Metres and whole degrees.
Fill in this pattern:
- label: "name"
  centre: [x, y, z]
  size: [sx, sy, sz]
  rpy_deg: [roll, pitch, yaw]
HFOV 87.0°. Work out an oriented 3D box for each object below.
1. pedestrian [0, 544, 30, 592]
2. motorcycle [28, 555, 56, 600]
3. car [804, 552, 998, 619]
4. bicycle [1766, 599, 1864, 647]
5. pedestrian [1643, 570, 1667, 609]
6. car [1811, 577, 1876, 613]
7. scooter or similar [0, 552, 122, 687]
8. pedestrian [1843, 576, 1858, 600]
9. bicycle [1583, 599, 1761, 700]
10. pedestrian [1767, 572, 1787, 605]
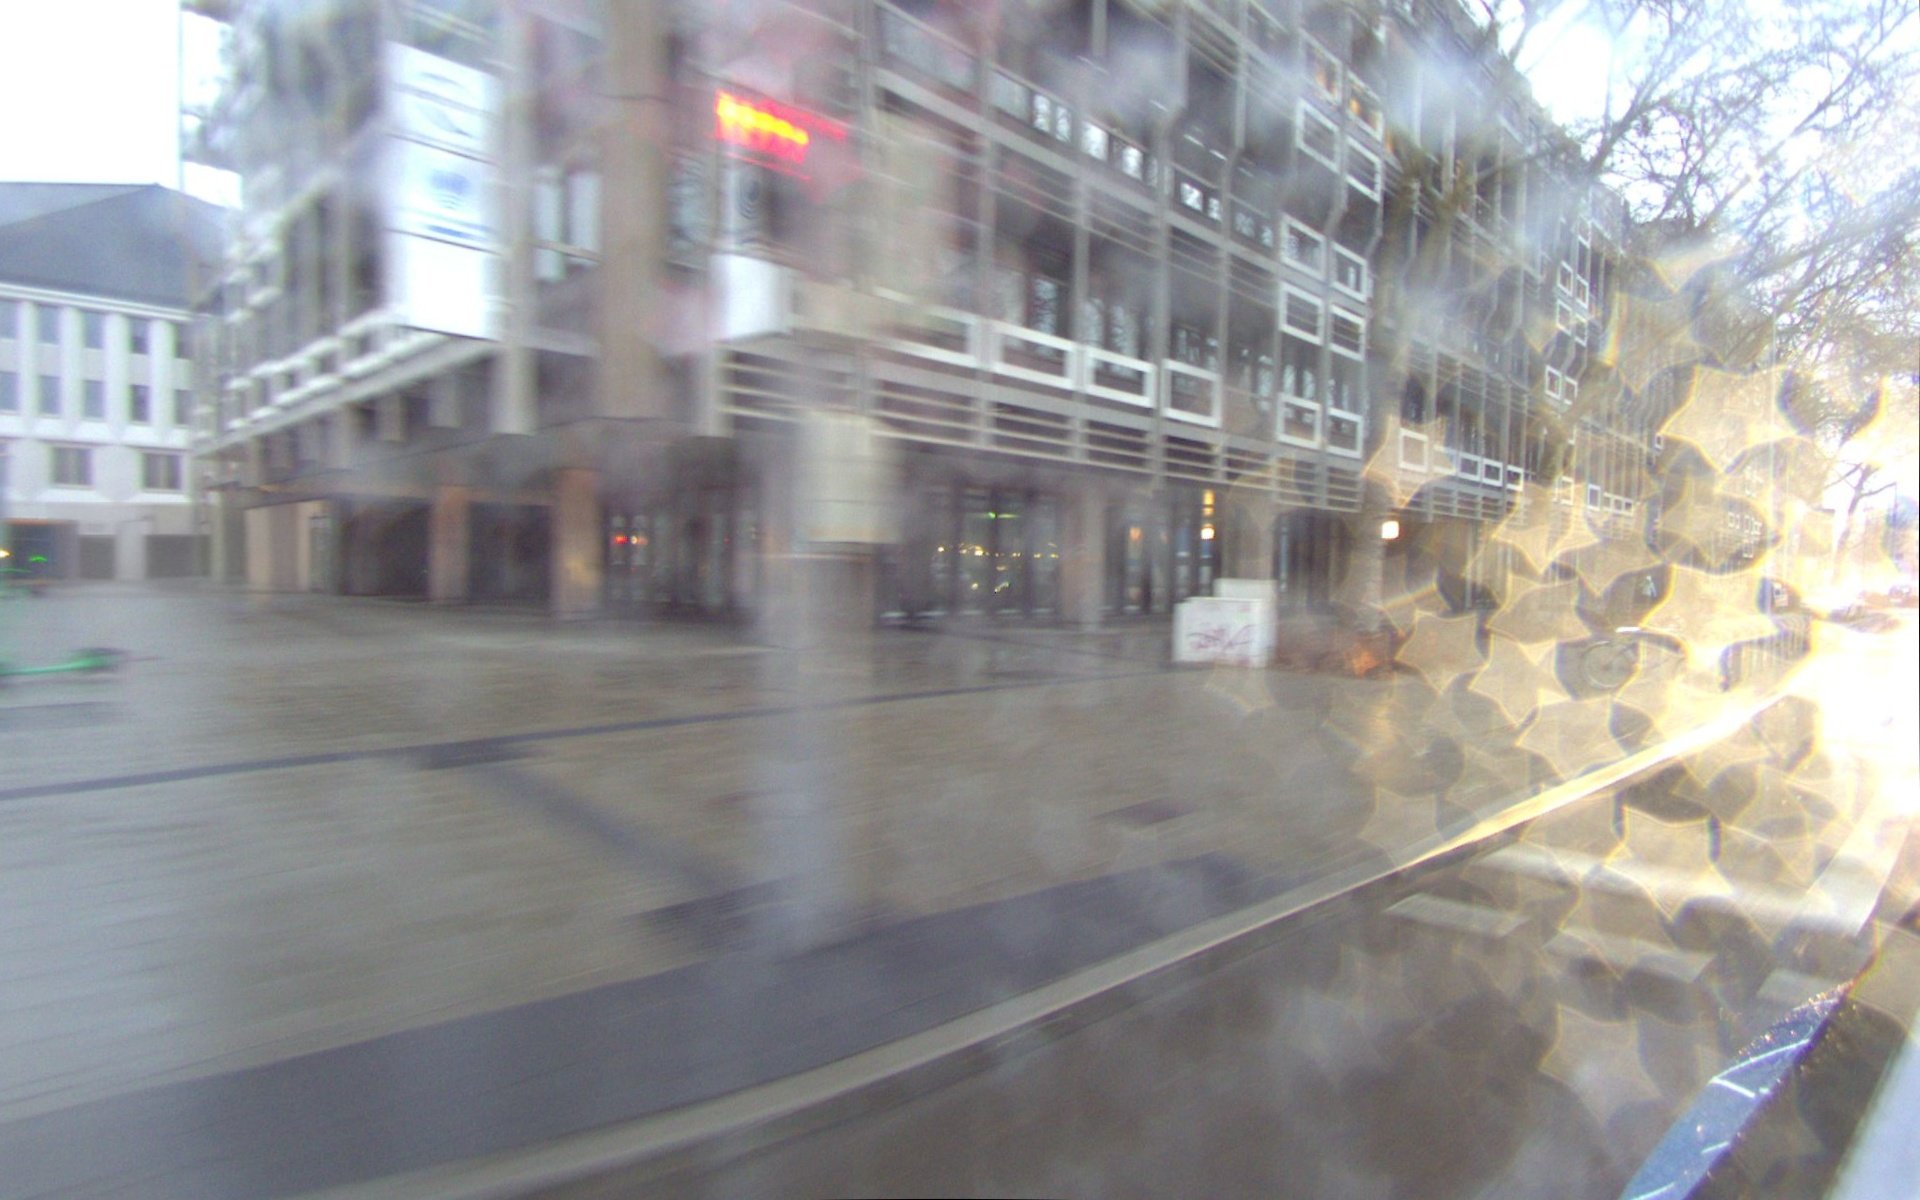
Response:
- label: "pedestrian"
  centre: [-35.292, -1.189, 37.777]
  size: [0.654, 1.798, 0.684]
  rpy_deg: [0, 1, 32]
- label: "motorcycle"
  centre: [-28.421, -0.698, 31.326]
  size: [0.584, 1.370, 1.490]
  rpy_deg: [0, 0, -44]
- label: "car"
  centre: [-1.268, -0.361, 22.575]
  size: [3.931, 1.326, 1.997]
  rpy_deg: [-1, 4, -42]
- label: "bicycle"
  centre: [20.900, 0.545, 24.766]
  size: [0.864, 1.004, 1.703]
  rpy_deg: [-1, 4, -43]
- label: "pedestrian"
  centre: [32.484, -0.492, 47.313]
  size: [0.764, 1.771, 0.914]
  rpy_deg: [2, 3, 43]
- label: "car"
  centre: [37.953, -0.254, 43.426]
  size: [3.933, 1.482, 1.710]
  rpy_deg: [-1, 2, -43]
- label: "scooter or similar"
  centre: [-9.784, 0.190, 10.643]
  size: [1.469, 1.370, 0.593]
  rpy_deg: [0, 0, -43]
- label: "pedestrian"
  centre: [65.505, -0.903, 74.450]
  size: [0.764, 1.771, 0.914]
  rpy_deg: [2, 3, 43]
- label: "bicycle"
  centre: [9.513, 0.625, 13.576]
  size: [0.629, 1.145, 1.809]
  rpy_deg: [2, 3, -43]
- label: "pedestrian"
  centre: [45.374, -0.648, 56.227]
  size: [0.764, 1.771, 0.914]
  rpy_deg: [2, 3, 43]
